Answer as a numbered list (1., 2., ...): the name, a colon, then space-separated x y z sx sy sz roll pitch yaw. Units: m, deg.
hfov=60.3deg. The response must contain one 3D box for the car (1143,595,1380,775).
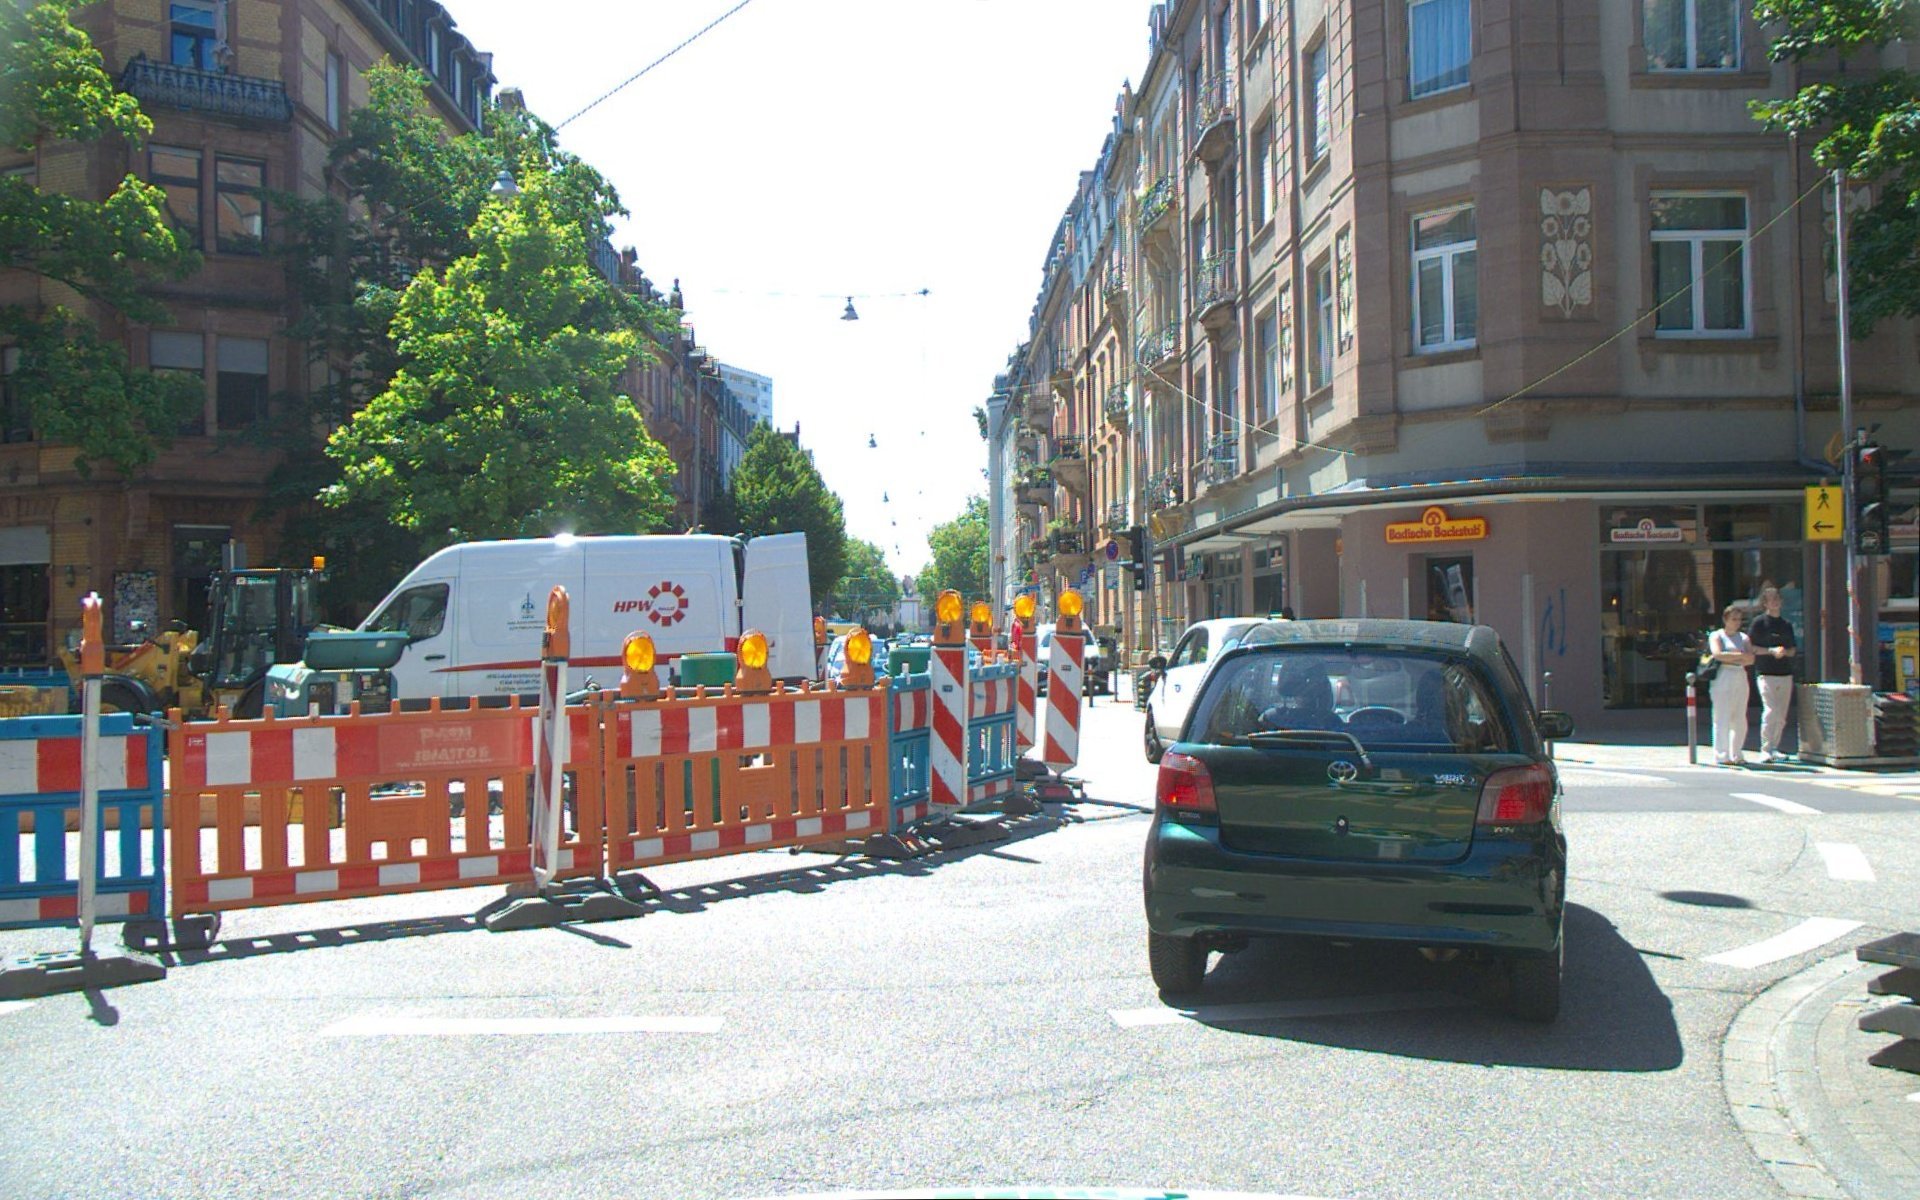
1. car: 2.842 0.766 16.214 1.492 1.548 3.261 -1 -1 -4

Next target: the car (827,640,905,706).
1. car: -2.257 1.749 40.583 1.719 1.469 3.998 -2 -1 -1

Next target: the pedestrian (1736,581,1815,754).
1. pedestrian: 8.824 0.717 17.903 0.565 1.799 0.470 -3 2 -10

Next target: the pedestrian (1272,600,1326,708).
1. pedestrian: 5.293 0.836 25.857 0.628 1.652 0.804 -1 -1 -2

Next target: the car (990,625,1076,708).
1. car: 1.479 1.347 34.637 1.492 1.620 3.262 -1 -1 -3

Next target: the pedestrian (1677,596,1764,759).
1. pedestrian: 8.143 0.815 17.713 0.689 1.673 0.422 -3 2 -10

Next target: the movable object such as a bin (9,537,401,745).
1. movable object such as a bin: -10.276 0.572 22.826 4.454 2.706 1.953 1 -1 -5

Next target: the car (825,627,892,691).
1. car: -2.957 1.713 48.838 1.719 1.674 4.376 -4 -1 -1

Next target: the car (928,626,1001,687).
1. car: 0.088 1.674 49.813 1.954 1.646 3.998 -4 -1 -2

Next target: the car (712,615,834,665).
1. car: -7.893 1.675 69.938 4.724 2.029 2.032 0 -1 -31

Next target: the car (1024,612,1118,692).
1. car: 2.624 1.238 40.156 1.833 1.743 4.502 -3 -1 -1

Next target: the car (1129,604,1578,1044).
1. car: 1.906 0.799 7.494 1.580 1.511 3.241 0 -1 19

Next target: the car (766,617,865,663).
1. car: -7.202 1.976 82.269 4.508 2.226 1.981 0 -1 -29

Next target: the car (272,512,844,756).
1. car: -4.792 0.427 20.601 6.486 2.800 2.379 1 -1 -1
